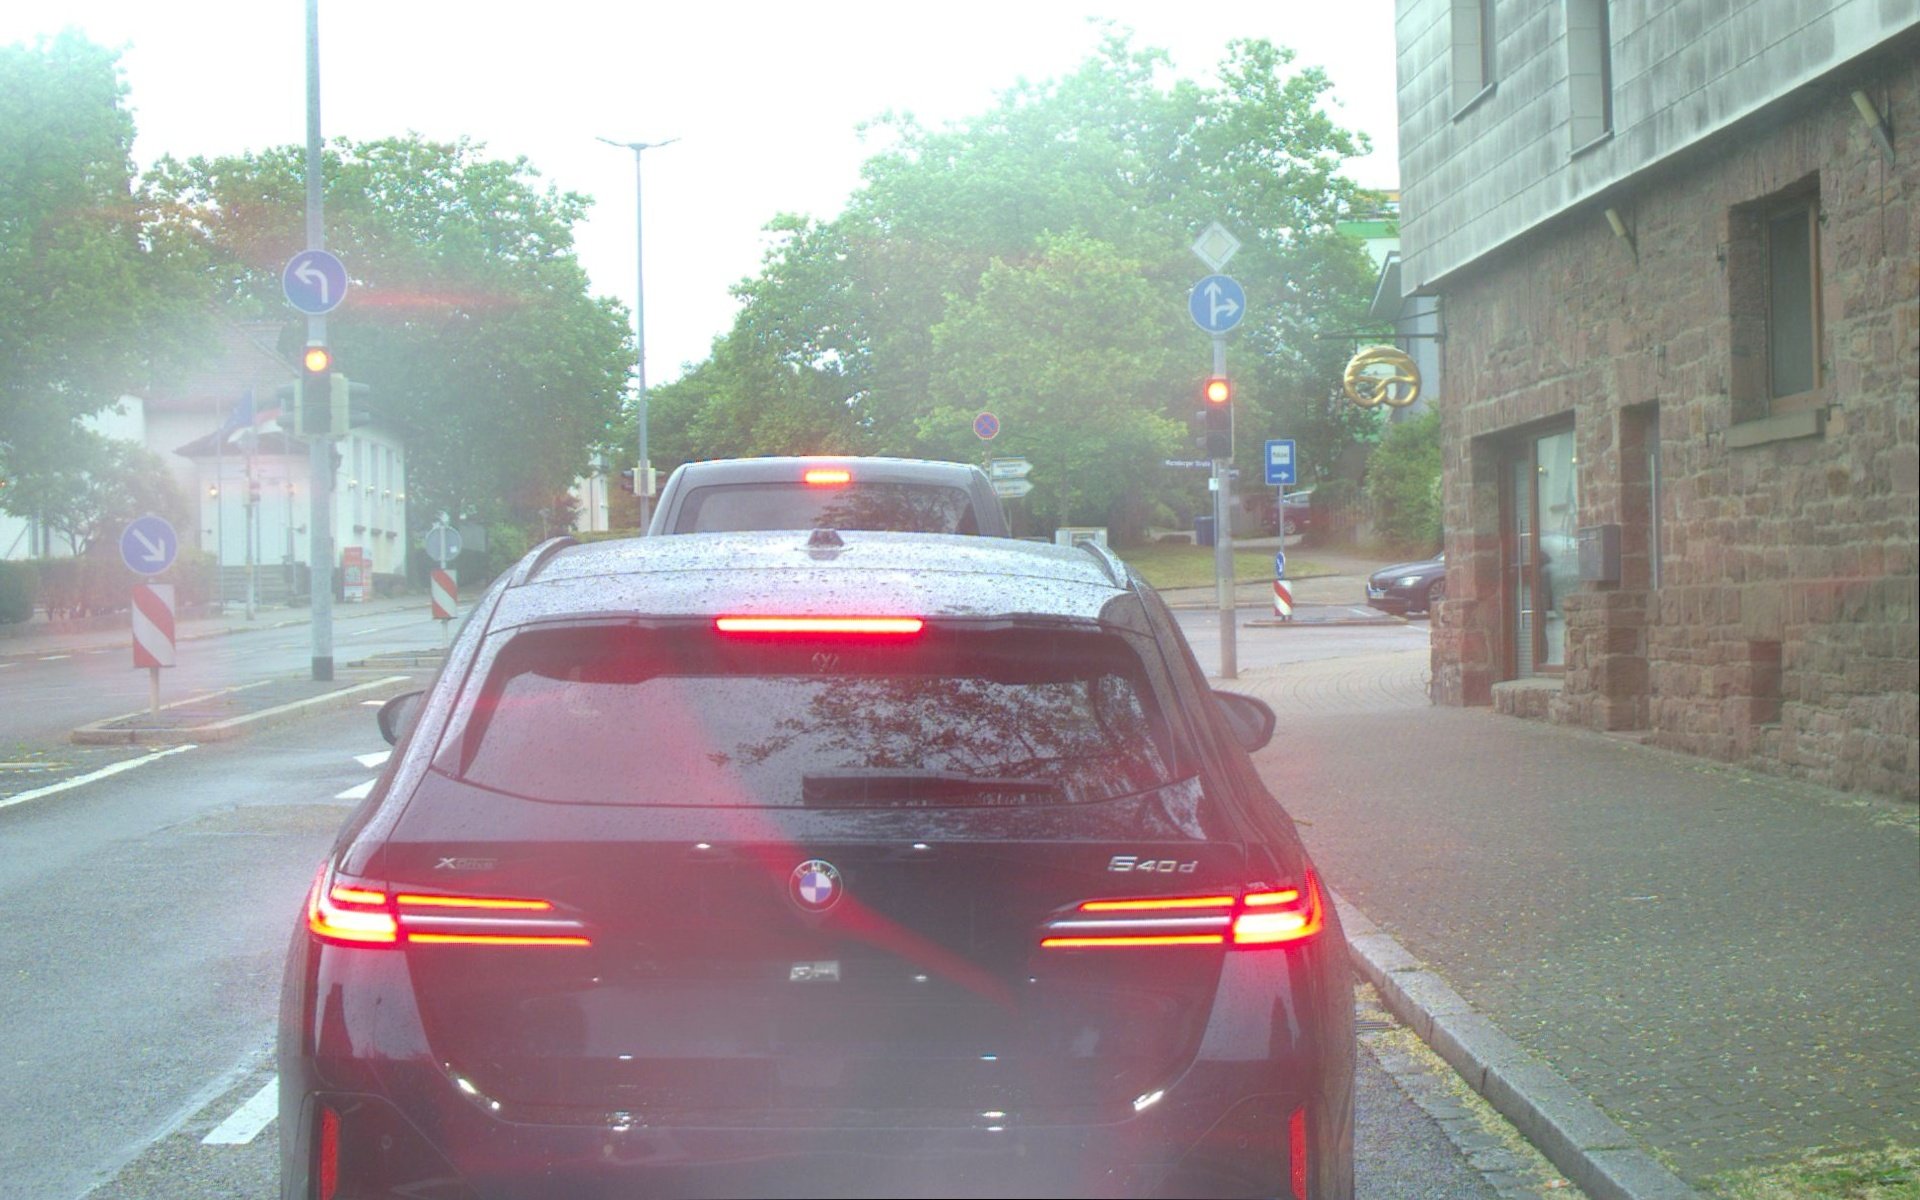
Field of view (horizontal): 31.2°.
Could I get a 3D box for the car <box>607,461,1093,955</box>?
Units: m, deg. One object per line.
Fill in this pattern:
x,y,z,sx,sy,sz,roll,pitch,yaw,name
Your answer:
-0.498,0.354,14.662,1.783,1.811,4.001,0,1,-3,car

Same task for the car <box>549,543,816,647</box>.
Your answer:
-4.246,-0.109,53.065,1.998,1.504,3.946,1,1,36,car

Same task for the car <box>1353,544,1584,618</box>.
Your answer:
9.168,-0.352,62.203,3.987,1.284,1.848,0,1,3,car

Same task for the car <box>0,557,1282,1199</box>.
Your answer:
-0.670,0.643,7.410,2.064,1.441,4.484,0,1,-3,car

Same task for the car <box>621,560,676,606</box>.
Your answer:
-9.795,-0.557,108.343,1.464,1.393,3.322,0,1,-1,car
